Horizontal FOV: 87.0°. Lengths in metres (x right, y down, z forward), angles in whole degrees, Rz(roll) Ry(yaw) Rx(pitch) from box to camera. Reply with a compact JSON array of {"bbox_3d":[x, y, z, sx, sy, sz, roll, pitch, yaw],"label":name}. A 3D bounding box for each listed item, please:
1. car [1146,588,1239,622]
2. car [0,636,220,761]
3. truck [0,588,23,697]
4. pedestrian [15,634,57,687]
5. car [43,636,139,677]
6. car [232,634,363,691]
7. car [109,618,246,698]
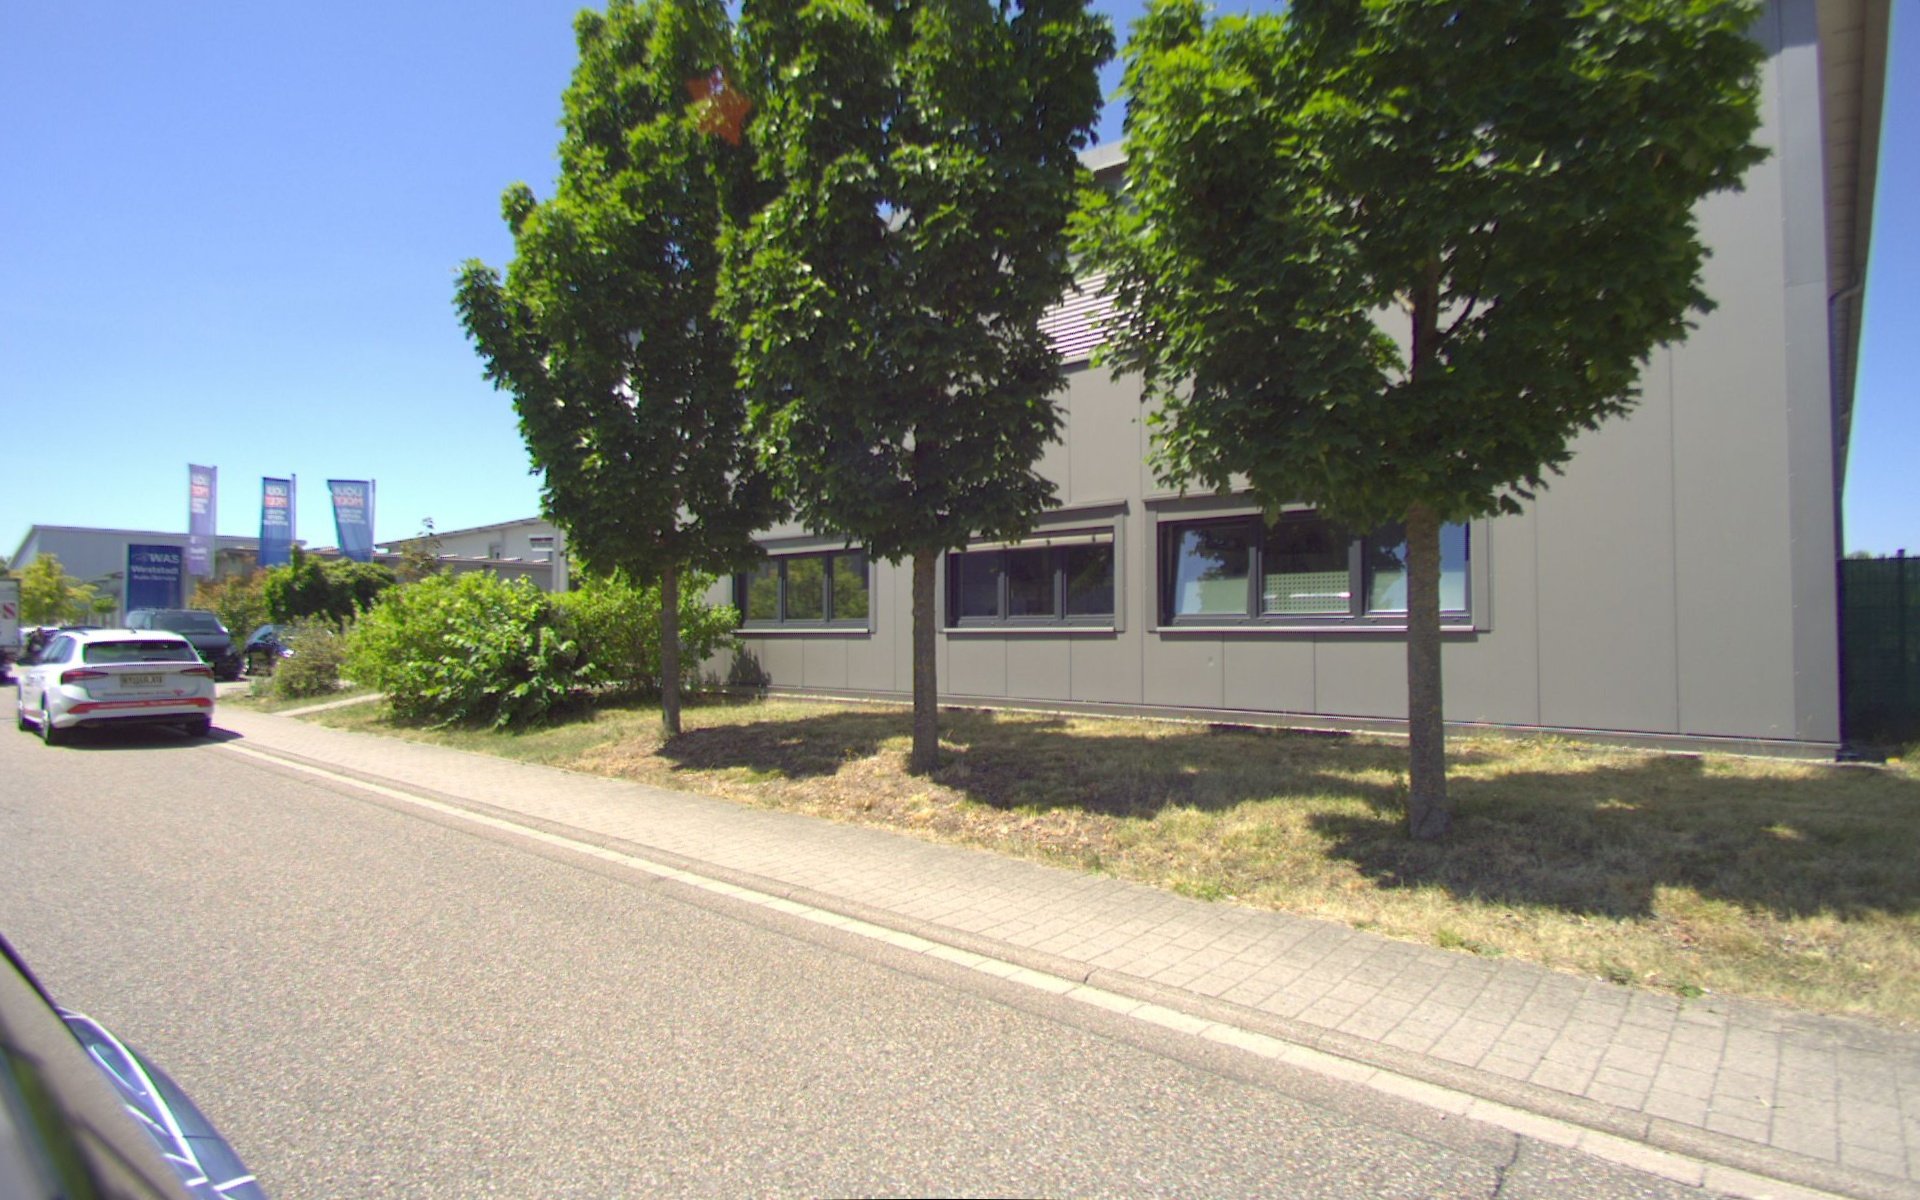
[{"bbox_3d":[10.884,0.269,47.692,1.758,1.433,4.427,0,-2,-29],"label":"car"},{"bbox_3d":[-12.031,1.248,14.202,4.489,1.469,1.712,-2,-2,41],"label":"car"},{"bbox_3d":[-28.292,1.149,28.291,6.413,2.882,2.336,-2,-4,42],"label":"truck"},{"bbox_3d":[-29.012,1.885,31.791,0.785,1.586,0.889,-3,-1,42],"label":"pedestrian"},{"bbox_3d":[-34.827,2.239,40.576,1.534,1.529,2.713,-2,-2,40],"label":"car"},{"bbox_3d":[-18.954,1.721,28.861,4.767,1.427,1.911,-2,-1,41],"label":"car"},{"bbox_3d":[-21.228,1.498,27.374,5.215,1.971,1.973,-2,-2,41],"label":"car"}]
